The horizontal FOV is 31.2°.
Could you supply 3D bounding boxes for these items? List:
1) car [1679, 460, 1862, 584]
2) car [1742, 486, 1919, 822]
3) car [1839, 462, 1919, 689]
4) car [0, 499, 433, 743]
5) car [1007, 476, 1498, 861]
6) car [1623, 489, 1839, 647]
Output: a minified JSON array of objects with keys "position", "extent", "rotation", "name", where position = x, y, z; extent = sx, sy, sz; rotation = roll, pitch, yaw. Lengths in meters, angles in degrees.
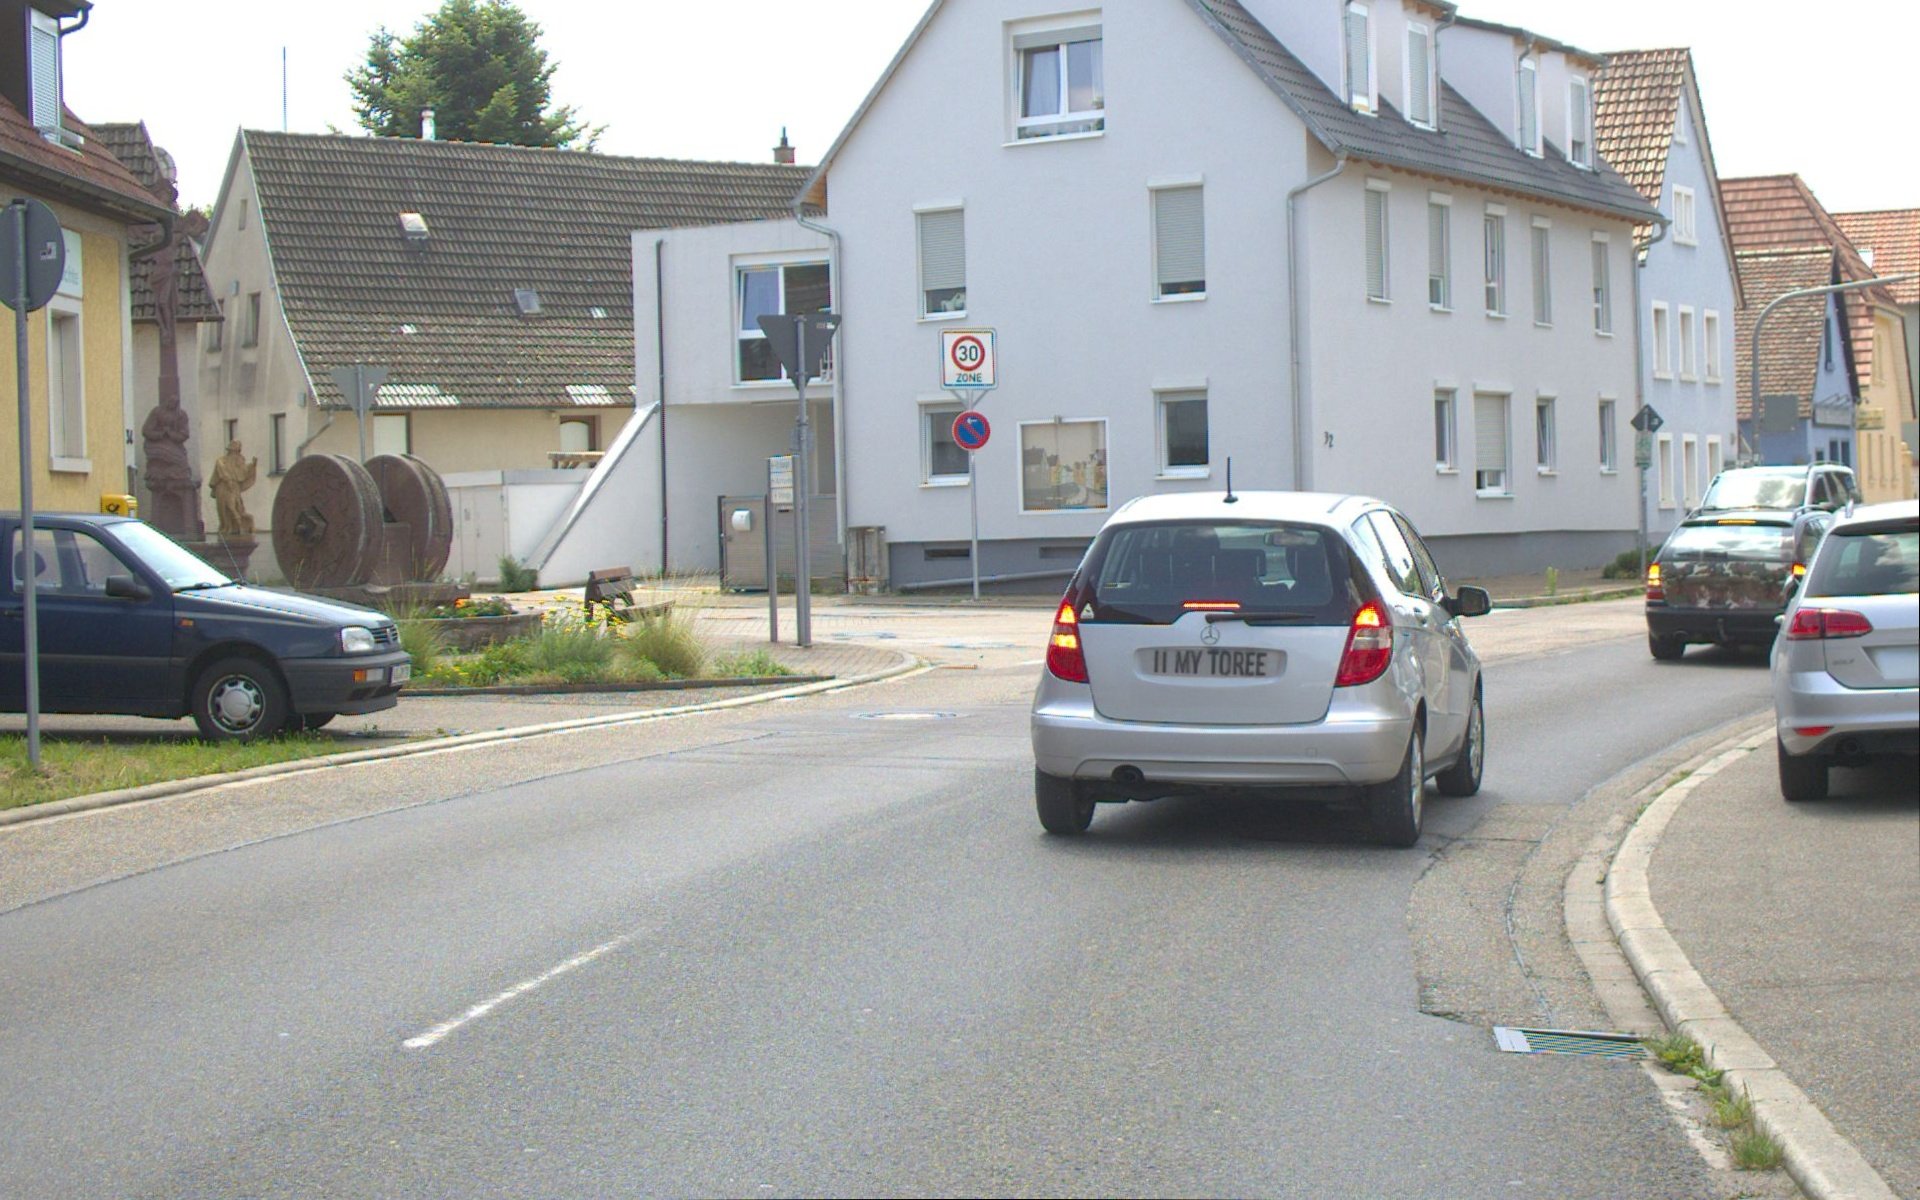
[{"position":[12.453,-1.152,52.589],"extent":[1.996,1.793,4.930],"rotation":[0,0,22],"name":"car"},{"position":[5.157,0.171,17.934],"extent":[1.886,1.525,4.333],"rotation":[-3,1,15],"name":"car"},{"position":[7.430,-0.174,24.936],"extent":[1.886,1.525,3.997],"rotation":[0,0,17],"name":"car"},{"position":[-5.439,0.102,21.577],"extent":[3.967,1.459,1.721],"rotation":[0,1,1],"name":"car"},{"position":[1.545,0.234,16.862],"extent":[1.812,1.638,3.727],"rotation":[1,2,14],"name":"car"},{"position":[7.398,-0.299,32.762],"extent":[1.751,1.411,3.997],"rotation":[0,0,16],"name":"car"}]
